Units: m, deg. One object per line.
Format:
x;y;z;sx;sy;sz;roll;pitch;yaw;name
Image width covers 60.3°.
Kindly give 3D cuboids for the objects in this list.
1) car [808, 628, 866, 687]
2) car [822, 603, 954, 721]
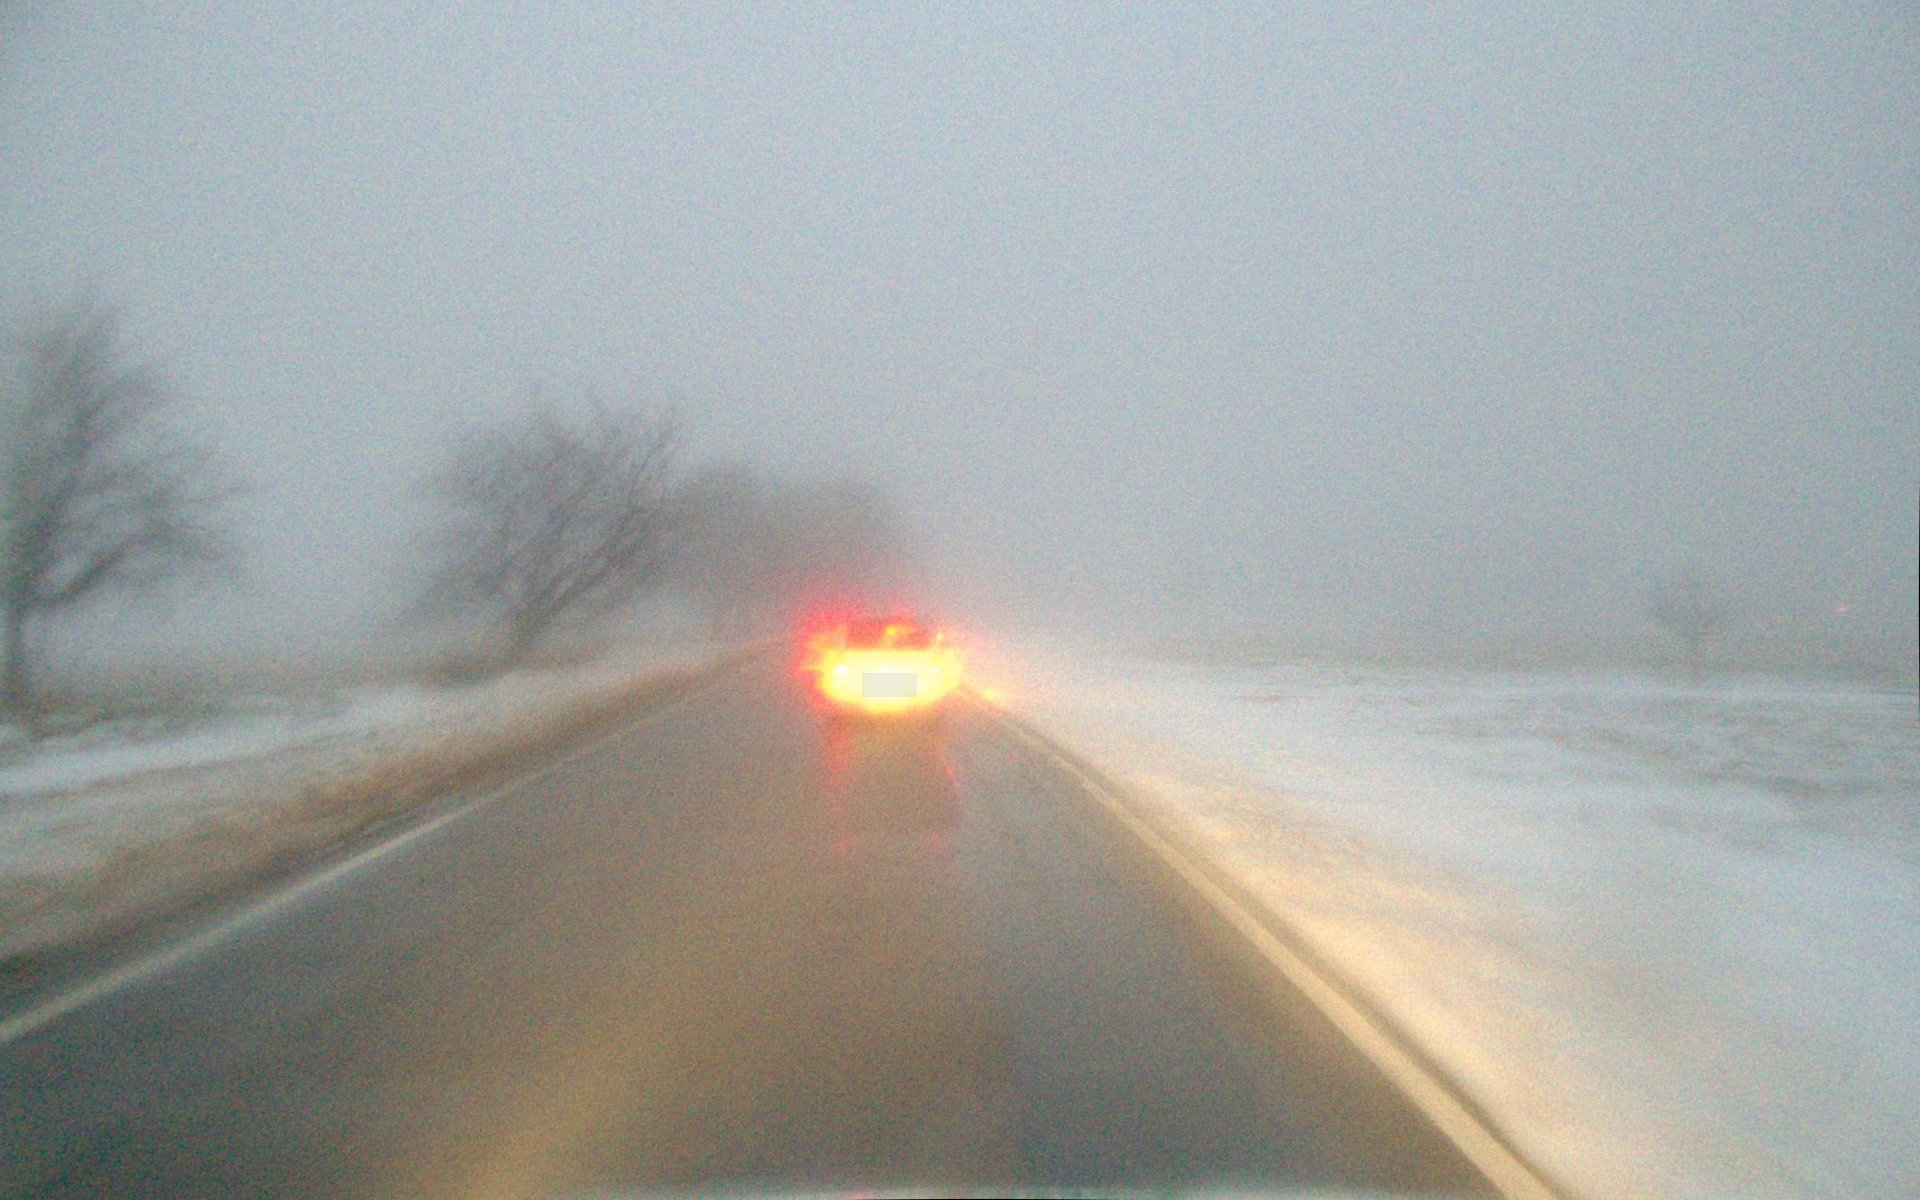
-3.342;1.542;45.292;1.449;1.534;3.051;-1;-1;-2;car
-1.089;0.813;23.428;1.673;1.489;3.996;1;0;-5;car
